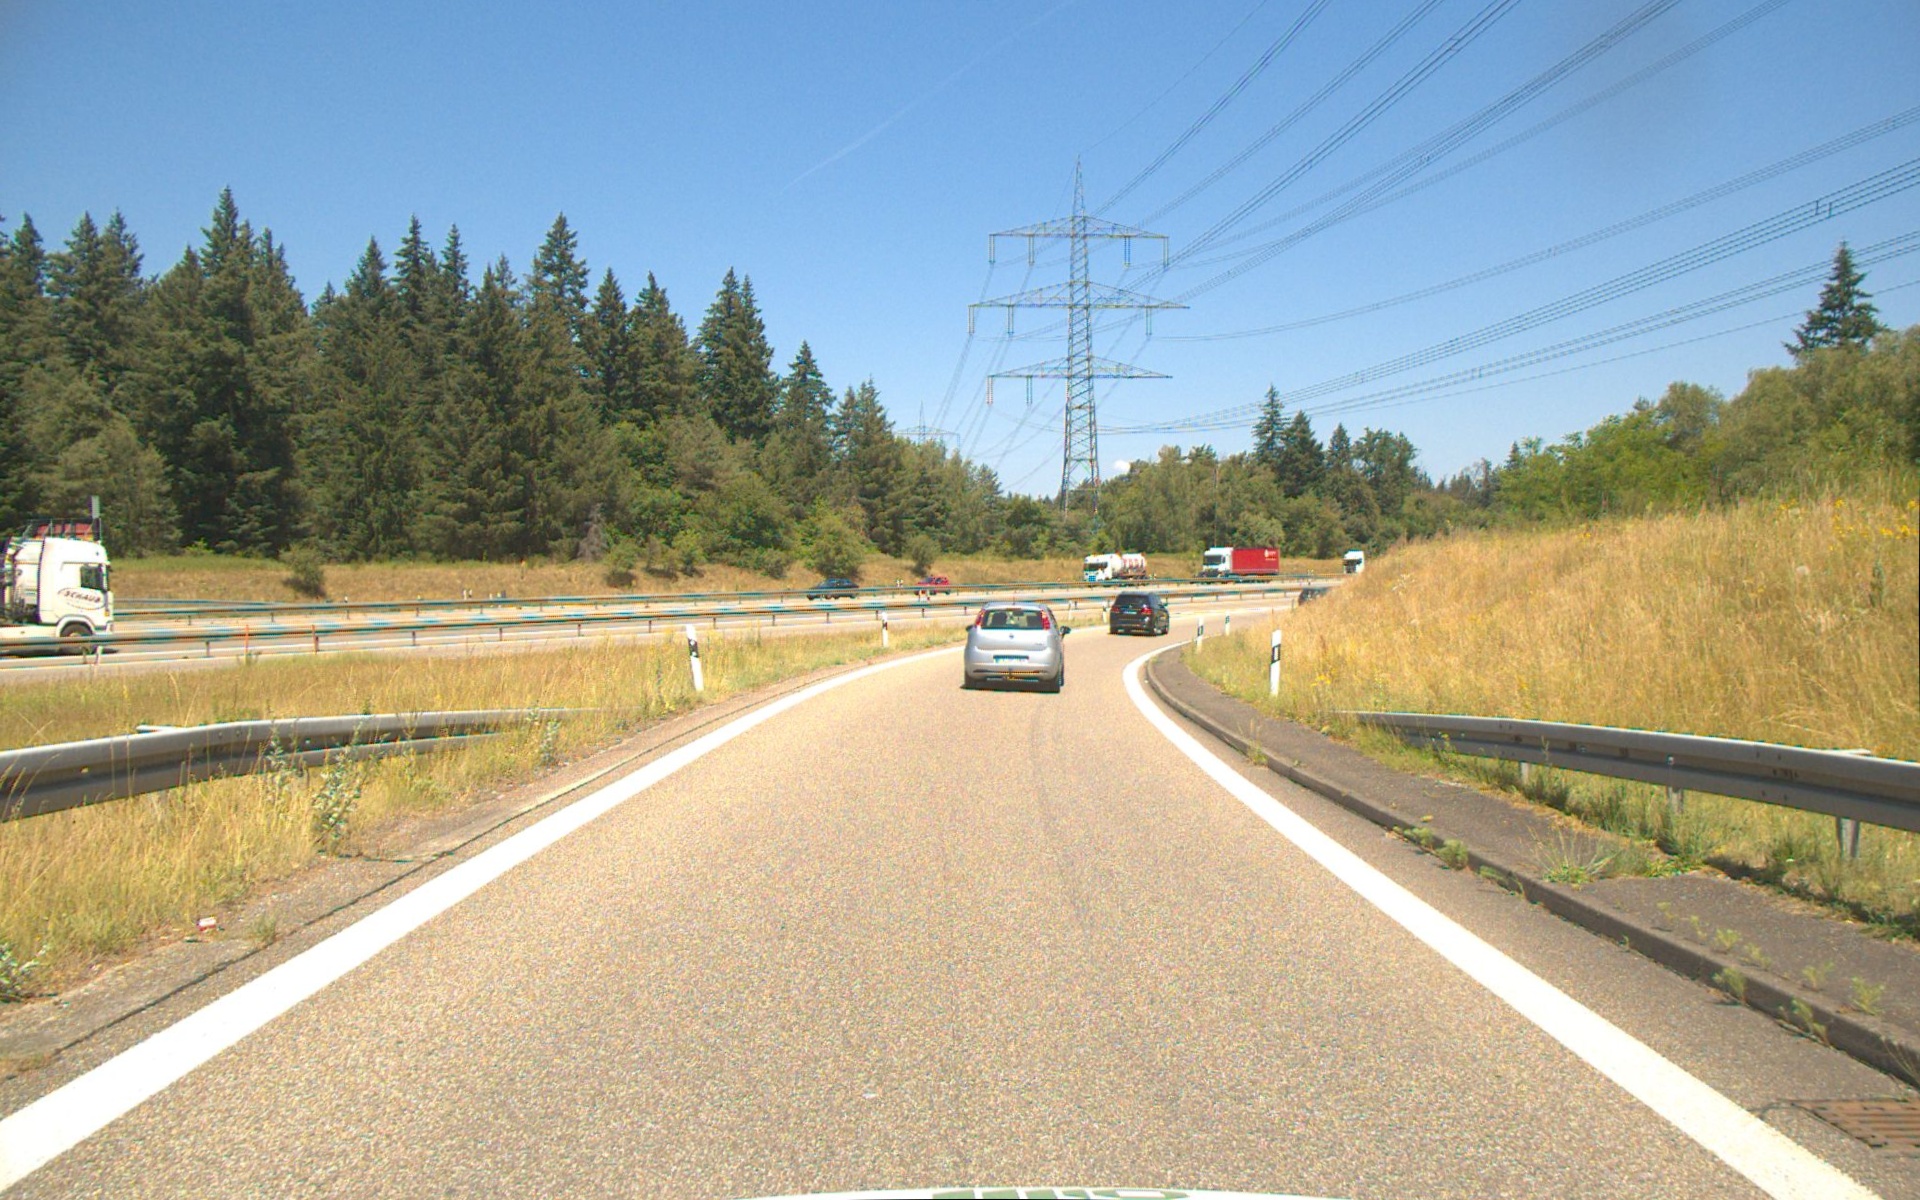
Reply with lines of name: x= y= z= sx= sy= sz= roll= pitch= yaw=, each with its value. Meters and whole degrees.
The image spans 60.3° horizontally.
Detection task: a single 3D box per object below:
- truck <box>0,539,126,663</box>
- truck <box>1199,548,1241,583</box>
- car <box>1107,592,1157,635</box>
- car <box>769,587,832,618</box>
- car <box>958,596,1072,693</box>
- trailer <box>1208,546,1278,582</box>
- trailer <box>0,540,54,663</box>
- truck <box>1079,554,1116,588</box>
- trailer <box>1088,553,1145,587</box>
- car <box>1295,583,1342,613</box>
truck: x=-30.559 y=-0.041 z=54.621 sx=2.708 sy=3.873 sz=4.609 roll=1 pitch=3 yaw=33
truck: x=29.619 y=-4.014 z=188.495 sx=2.498 sy=3.863 sz=5.649 roll=1 pitch=3 yaw=35
car: x=7.127 y=0.517 z=68.216 sx=1.670 sy=1.705 sz=3.401 roll=1 pitch=0 yaw=12
car: x=-11.040 y=0.151 z=114.820 sx=1.959 sy=1.880 sz=4.344 roll=0 pitch=3 yaw=35
car: x=1.015 y=0.721 z=28.906 sx=1.670 sy=1.507 sz=3.400 roll=2 pitch=1 yaw=6
trailer: x=33.254 y=-4.252 z=193.680 sx=2.498 sy=3.863 sz=13.694 roll=1 pitch=3 yaw=35
trailer: x=-33.318 y=0.175 z=50.379 sx=2.722 sy=3.873 sz=9.858 roll=1 pitch=3 yaw=33
truck: x=16.137 y=-3.451 z=194.092 sx=2.721 sy=3.863 sz=3.986 roll=1 pitch=3 yaw=35
trailer: x=18.804 y=-3.616 z=197.920 sx=2.725 sy=3.863 sz=8.906 roll=1 pitch=3 yaw=35
car: x=22.306 y=-0.112 z=102.857 sx=1.845 sy=1.713 sz=3.995 roll=-2 pitch=0 yaw=27
